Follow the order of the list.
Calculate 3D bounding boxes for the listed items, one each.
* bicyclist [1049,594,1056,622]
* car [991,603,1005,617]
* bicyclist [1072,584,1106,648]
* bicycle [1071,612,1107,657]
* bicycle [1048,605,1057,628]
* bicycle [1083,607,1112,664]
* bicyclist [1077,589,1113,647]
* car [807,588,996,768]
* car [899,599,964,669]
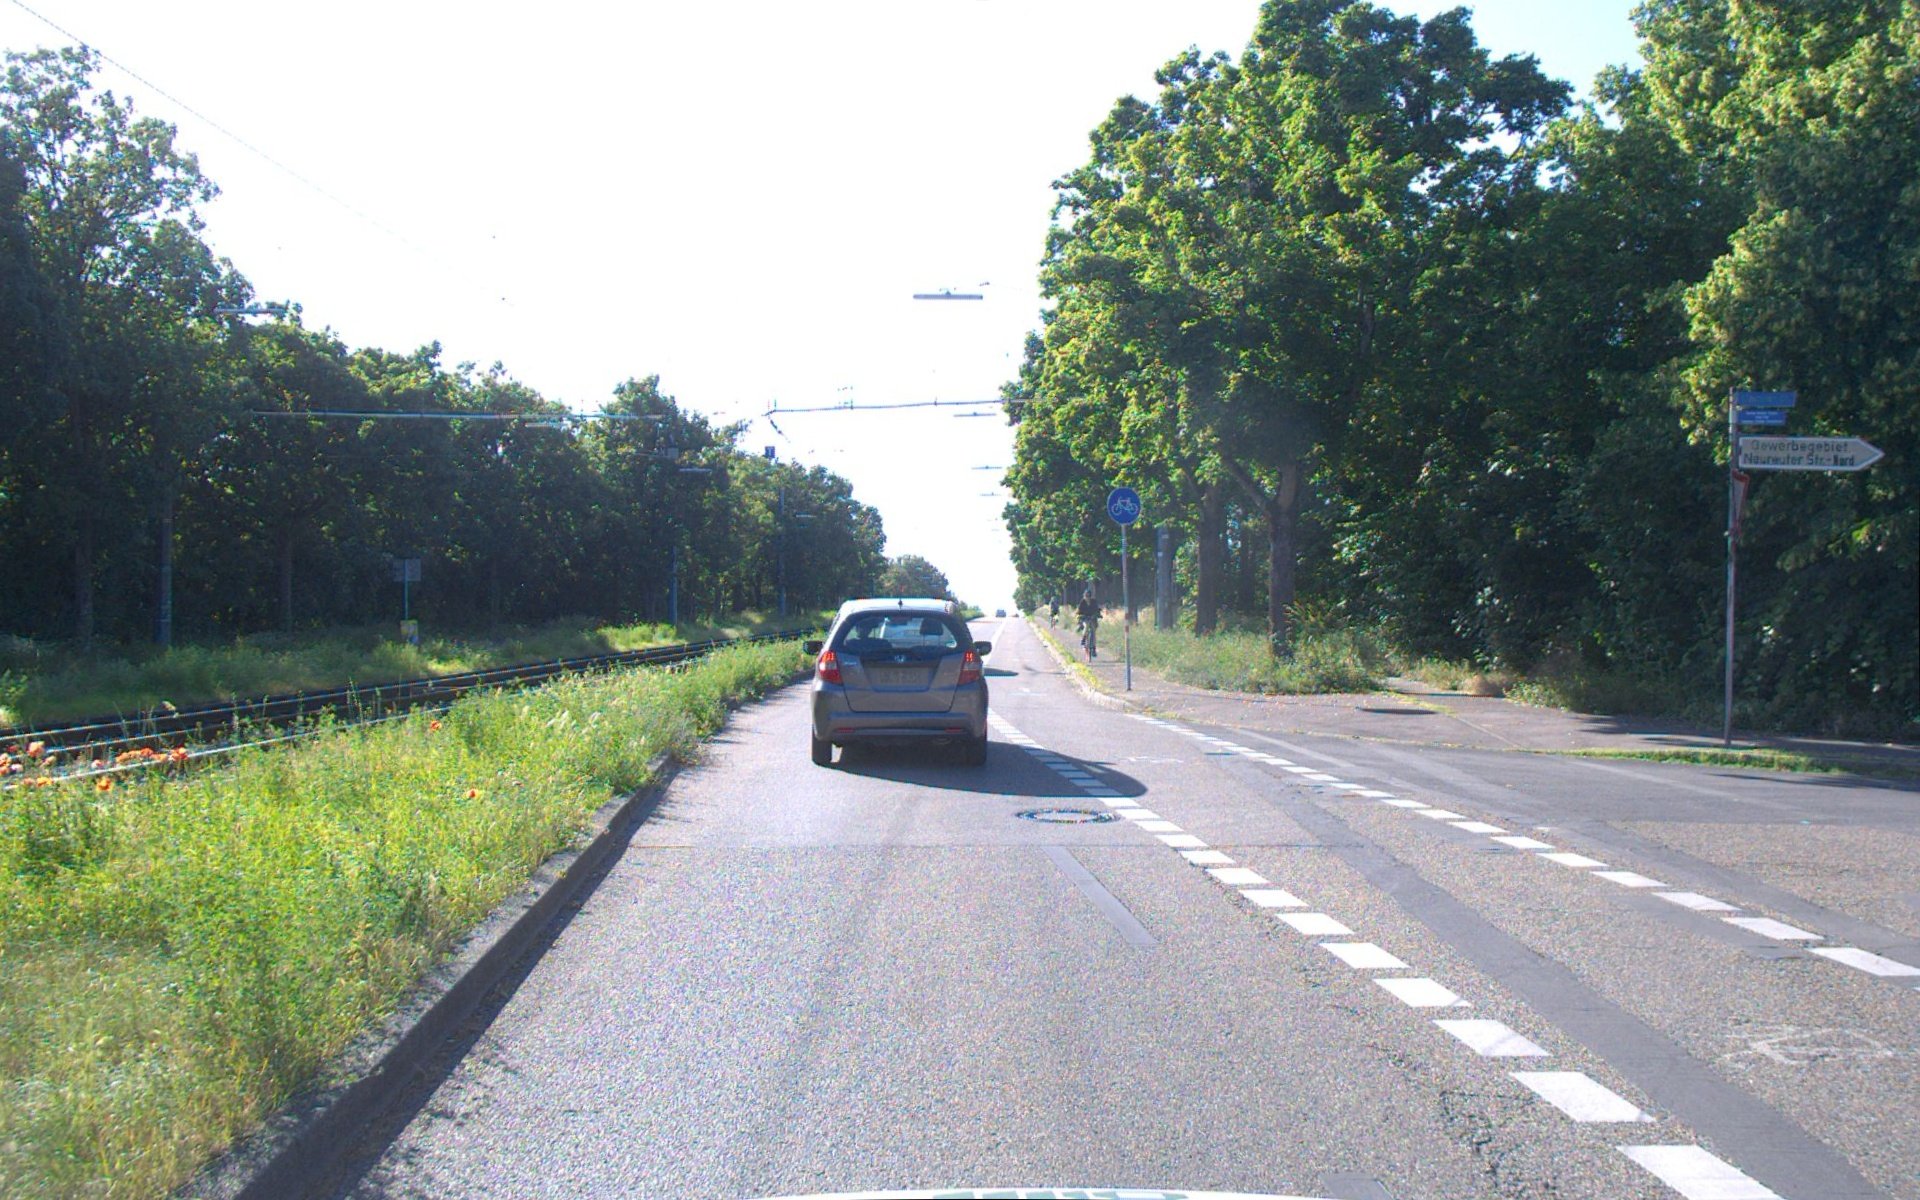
[{"bbox_3d":[5.017,0.425,89.607,0.397,1.533,0.574,0,-1,1],"label":"bicyclist"},{"bbox_3d":[5.871,1.531,257.347,1.952,2.048,4.001,-5,-1,3],"label":"car"},{"bbox_3d":[3.185,0.410,40.781,0.800,1.551,0.966,1,-2,3],"label":"bicyclist"},{"bbox_3d":[3.169,0.871,40.747,0.800,1.066,2.506,1,-2,3],"label":"bicycle"},{"bbox_3d":[5.004,0.907,89.423,0.409,1.209,1.722,-1,0,1],"label":"bicycle"},{"bbox_3d":[3.357,0.846,40.558,0.606,1.210,2.508,-4,2,4],"label":"bicycle"},{"bbox_3d":[3.309,0.432,40.719,0.741,1.392,0.806,-1,0,-4],"label":"bicyclist"},{"bbox_3d":[-0.574,0.682,16.469,1.637,1.542,3.672,2,0,-2],"label":"car"},{"bbox_3d":[-0.697,0.791,38.480,1.325,1.554,3.120,0,-1,-4],"label":"car"}]
